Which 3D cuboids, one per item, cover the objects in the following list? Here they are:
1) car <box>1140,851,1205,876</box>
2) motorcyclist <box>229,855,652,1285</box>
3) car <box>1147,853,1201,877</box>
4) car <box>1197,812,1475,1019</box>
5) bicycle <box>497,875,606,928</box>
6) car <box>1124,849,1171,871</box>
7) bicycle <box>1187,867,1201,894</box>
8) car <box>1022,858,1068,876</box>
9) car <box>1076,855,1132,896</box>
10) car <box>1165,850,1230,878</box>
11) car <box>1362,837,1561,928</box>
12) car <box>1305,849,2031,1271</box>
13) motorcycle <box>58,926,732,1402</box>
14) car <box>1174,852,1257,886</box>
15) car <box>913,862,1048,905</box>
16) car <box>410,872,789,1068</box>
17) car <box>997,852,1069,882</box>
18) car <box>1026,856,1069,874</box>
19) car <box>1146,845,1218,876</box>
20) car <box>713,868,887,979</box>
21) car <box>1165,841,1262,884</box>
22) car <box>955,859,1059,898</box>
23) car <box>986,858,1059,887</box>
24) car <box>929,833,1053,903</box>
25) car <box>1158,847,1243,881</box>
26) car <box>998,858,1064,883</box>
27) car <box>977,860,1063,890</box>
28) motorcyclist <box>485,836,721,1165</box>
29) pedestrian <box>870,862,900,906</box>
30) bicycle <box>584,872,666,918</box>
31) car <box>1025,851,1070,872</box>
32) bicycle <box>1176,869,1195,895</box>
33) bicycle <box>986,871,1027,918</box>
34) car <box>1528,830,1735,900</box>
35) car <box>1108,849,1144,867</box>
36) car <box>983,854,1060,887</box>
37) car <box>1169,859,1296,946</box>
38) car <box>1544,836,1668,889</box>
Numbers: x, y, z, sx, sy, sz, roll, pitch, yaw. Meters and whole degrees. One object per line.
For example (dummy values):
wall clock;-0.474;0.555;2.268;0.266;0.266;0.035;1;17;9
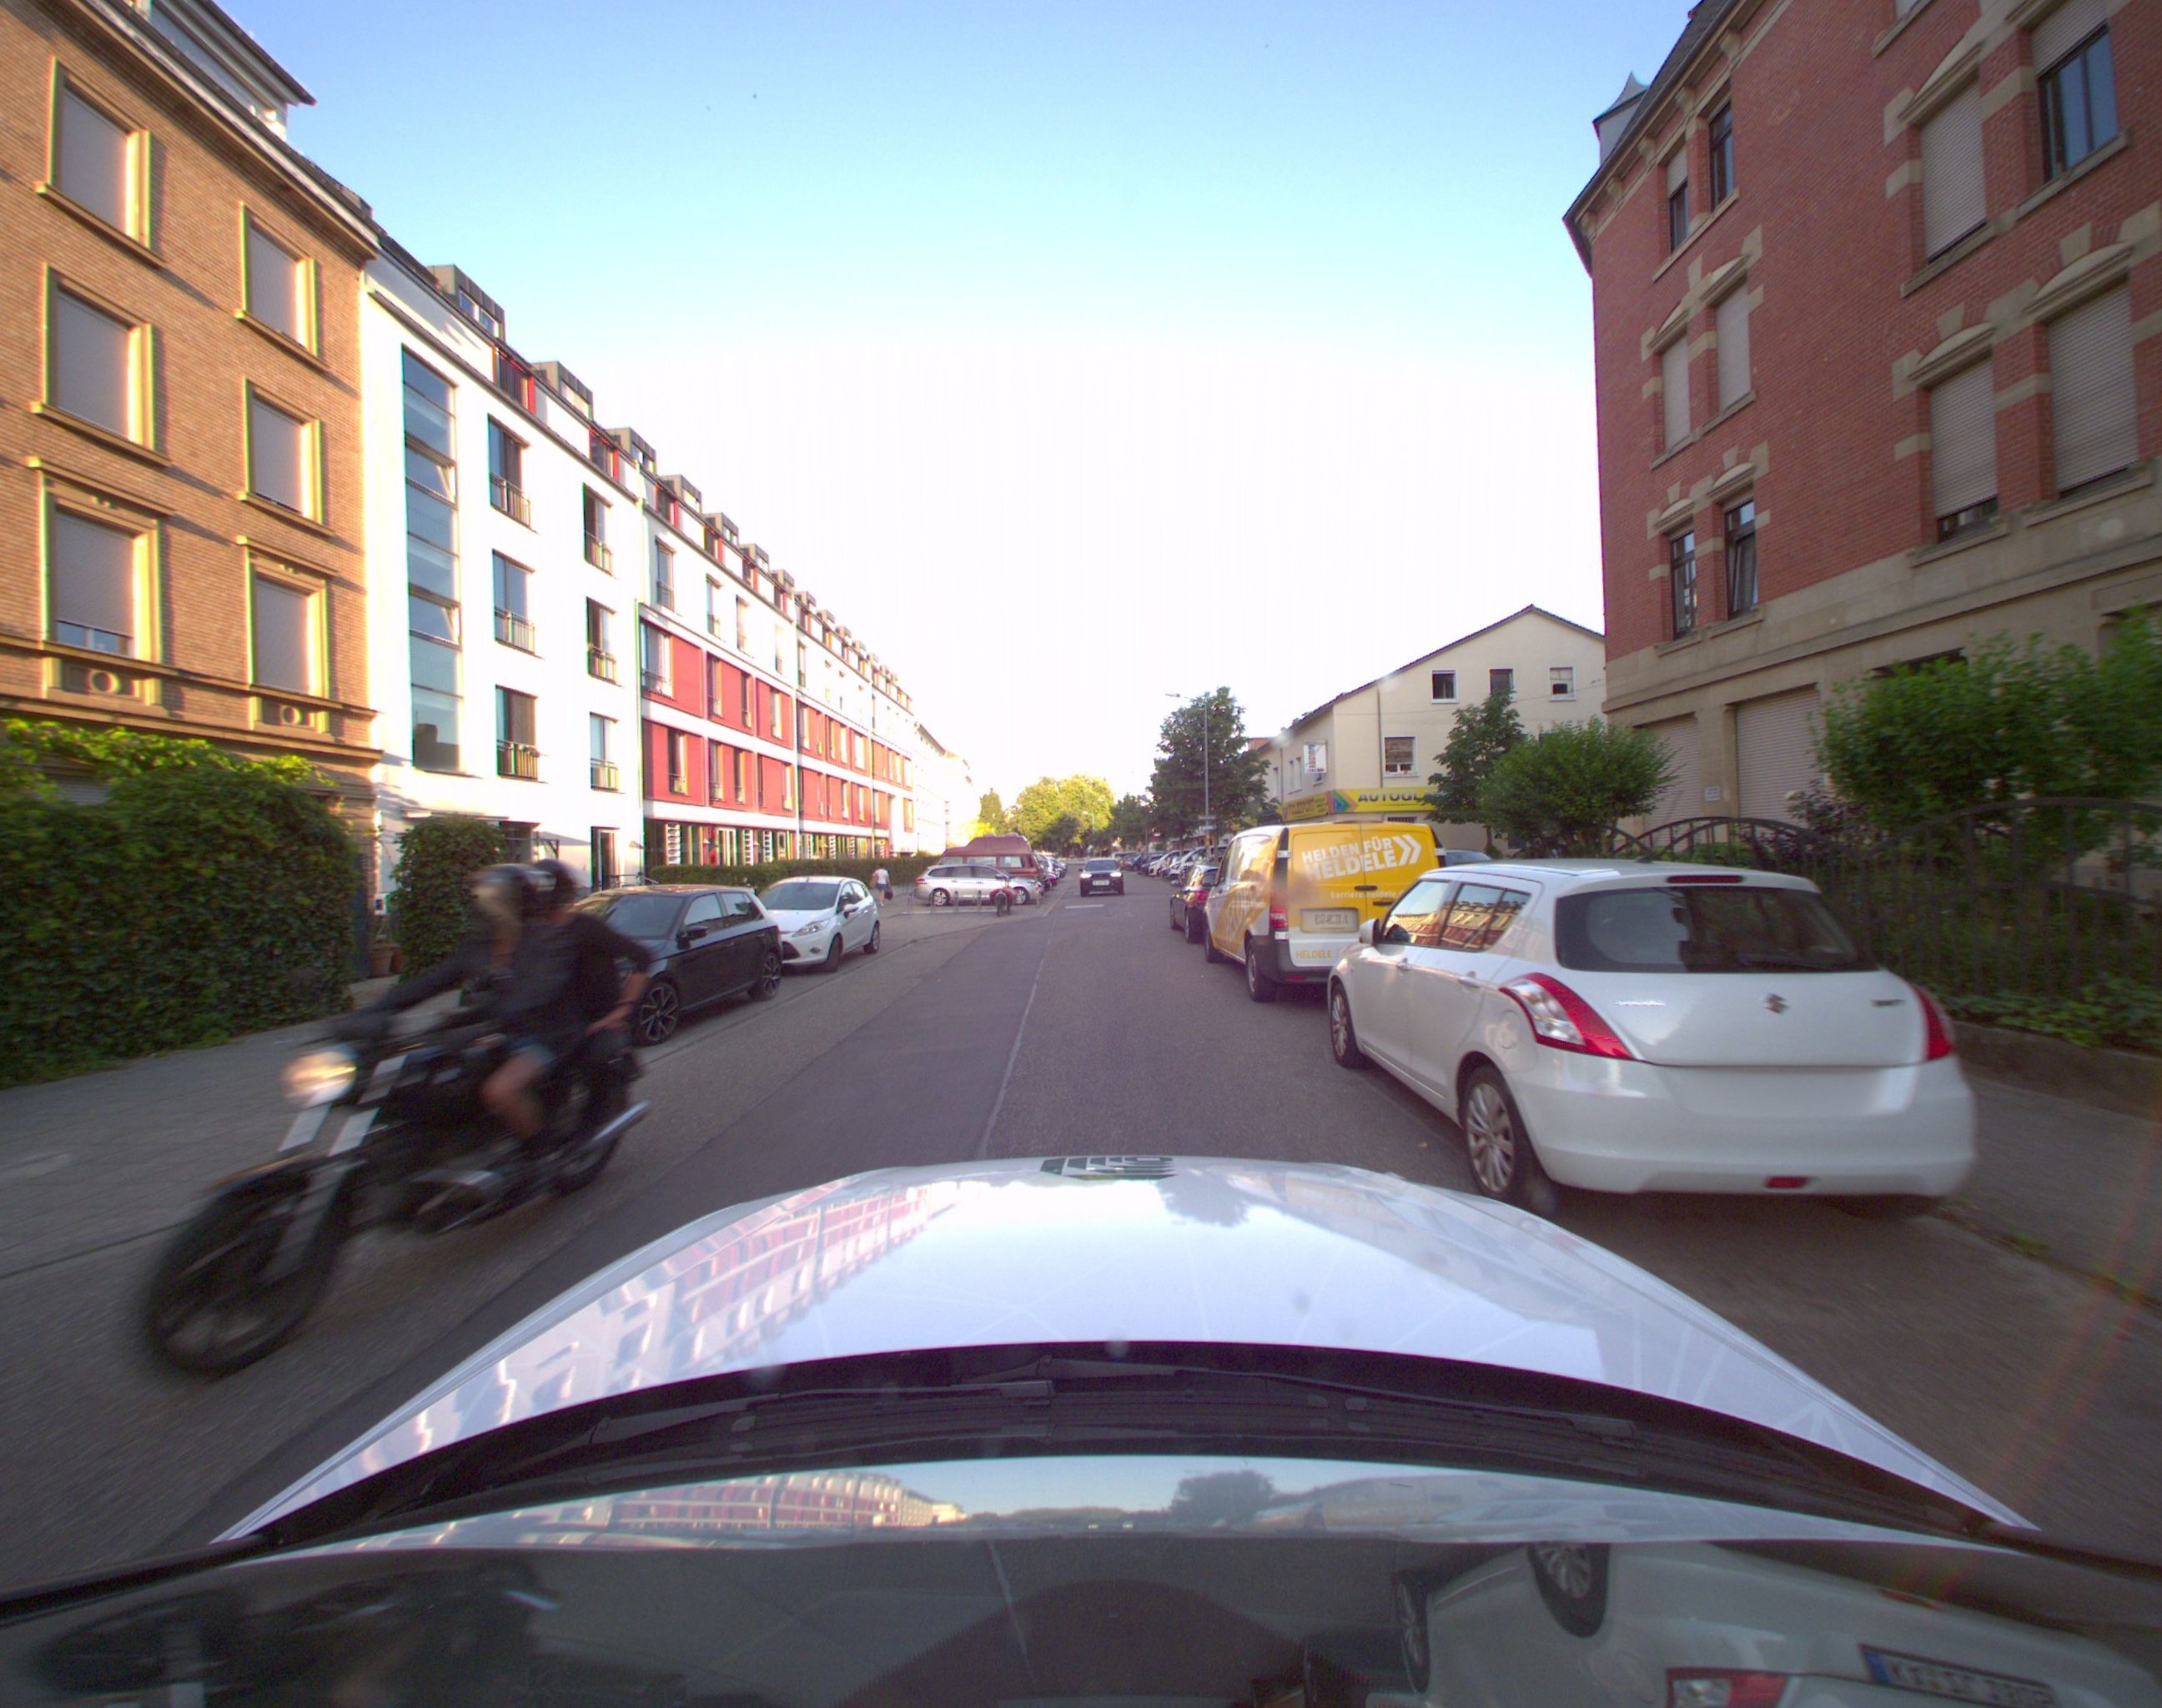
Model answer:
car;7.258;0.763;65.026;4.930;1.689;2.076;-4;0;-1
motorcyclist;-2.585;0.792;3.415;0.884;1.505;0.972;-4;-1;10
car;7.980;0.929;69.924;4.304;1.804;1.810;-4;0;-1
car;2.734;0.580;10.116;1.887;1.884;5.082;-1;0;0
bicycle;-11.836;1.048;18.256;1.908;1.141;0.812;0;0;1
car;6.711;0.586;82.518;4.470;1.911;1.685;-4;-1;-4
bicycle;5.264;1.207;37.987;0.384;1.200;2.018;-3;0;1
car;-3.380;1.206;77.563;4.242;1.714;2.000;0;0;0
car;1.037;0.860;34.199;1.769;1.517;4.010;-3;0;9
car;7.535;0.664;52.892;3.897;1.526;1.940;-4;0;1
car;7.075;0.485;15.722;1.721;1.424;4.422;-3;0;0
car;2.590;0.741;4.817;1.667;1.477;3.865;-1;0;3
motorcycle;-2.553;1.033;3.491;0.841;1.209;2.081;-4;-1;11
car;6.930;0.749;42.131;3.908;1.451;1.767;-4;0;-2
car;-3.475;1.013;28.902;4.604;1.460;1.879;0;0;-3
car;-4.723;1.016;8.738;1.697;1.534;3.845;-1;0;1
car;-3.300;0.891;56.465;4.834;2.021;1.907;0;0;0
car;-3.349;1.098;82.337;4.242;1.749;2.000;0;0;0
car;7.421;0.501;60.083;4.930;1.958;2.048;-4;0;-1
car;-4.548;1.043;13.813;1.646;1.530;4.014;-1;0;-2
car;7.242;0.462;44.917;4.972;1.983;2.220;-4;0;1
car;-3.045;1.010;34.045;4.197;1.538;1.790;0;0;-1
car;-3.531;1.110;49.553;4.242;1.660;2.000;0;0;0
car;-3.405;0.535;31.483;4.493;2.584;2.001;0;0;2
car;7.332;0.621;50.261;4.926;1.742;2.050;-4;0;1
car;-3.269;1.070;53.908;4.242;1.652;1.888;0;0;0
car;-3.080;1.065;41.655;4.194;1.490;1.850;0;0;1
motorcyclist;-2.420;0.710;4.169;0.782;1.540;0.547;-4;-1;10
pedestrian;-6.875;1.039;28.559;0.829;1.501;0.798;0;-1;1
bicycle;-11.661;1.032;20.832;1.768;1.148;0.611;0;-1;3
car;-3.453;0.776;84.979;4.518;2.134;2.000;0;0;0
bicycle;4.846;1.267;37.804;0.437;1.130;2.014;-3;0;-4
bicycle;-2.128;1.133;23.588;0.804;1.221;2.867;0;0;2
car;14.773;0.303;22.028;4.306;1.672;1.877;-2;-2;-1
car;5.377;0.506;98.132;3.960;1.911;2.046;-4;0;-4
car;-3.394;0.918;47.081;4.242;1.836;2.000;0;0;0
car;2.761;0.829;15.750;1.715;1.424;4.253;0;0;1
car;20.259;0.278;31.688;1.866;1.831;4.577;-2;1;0
